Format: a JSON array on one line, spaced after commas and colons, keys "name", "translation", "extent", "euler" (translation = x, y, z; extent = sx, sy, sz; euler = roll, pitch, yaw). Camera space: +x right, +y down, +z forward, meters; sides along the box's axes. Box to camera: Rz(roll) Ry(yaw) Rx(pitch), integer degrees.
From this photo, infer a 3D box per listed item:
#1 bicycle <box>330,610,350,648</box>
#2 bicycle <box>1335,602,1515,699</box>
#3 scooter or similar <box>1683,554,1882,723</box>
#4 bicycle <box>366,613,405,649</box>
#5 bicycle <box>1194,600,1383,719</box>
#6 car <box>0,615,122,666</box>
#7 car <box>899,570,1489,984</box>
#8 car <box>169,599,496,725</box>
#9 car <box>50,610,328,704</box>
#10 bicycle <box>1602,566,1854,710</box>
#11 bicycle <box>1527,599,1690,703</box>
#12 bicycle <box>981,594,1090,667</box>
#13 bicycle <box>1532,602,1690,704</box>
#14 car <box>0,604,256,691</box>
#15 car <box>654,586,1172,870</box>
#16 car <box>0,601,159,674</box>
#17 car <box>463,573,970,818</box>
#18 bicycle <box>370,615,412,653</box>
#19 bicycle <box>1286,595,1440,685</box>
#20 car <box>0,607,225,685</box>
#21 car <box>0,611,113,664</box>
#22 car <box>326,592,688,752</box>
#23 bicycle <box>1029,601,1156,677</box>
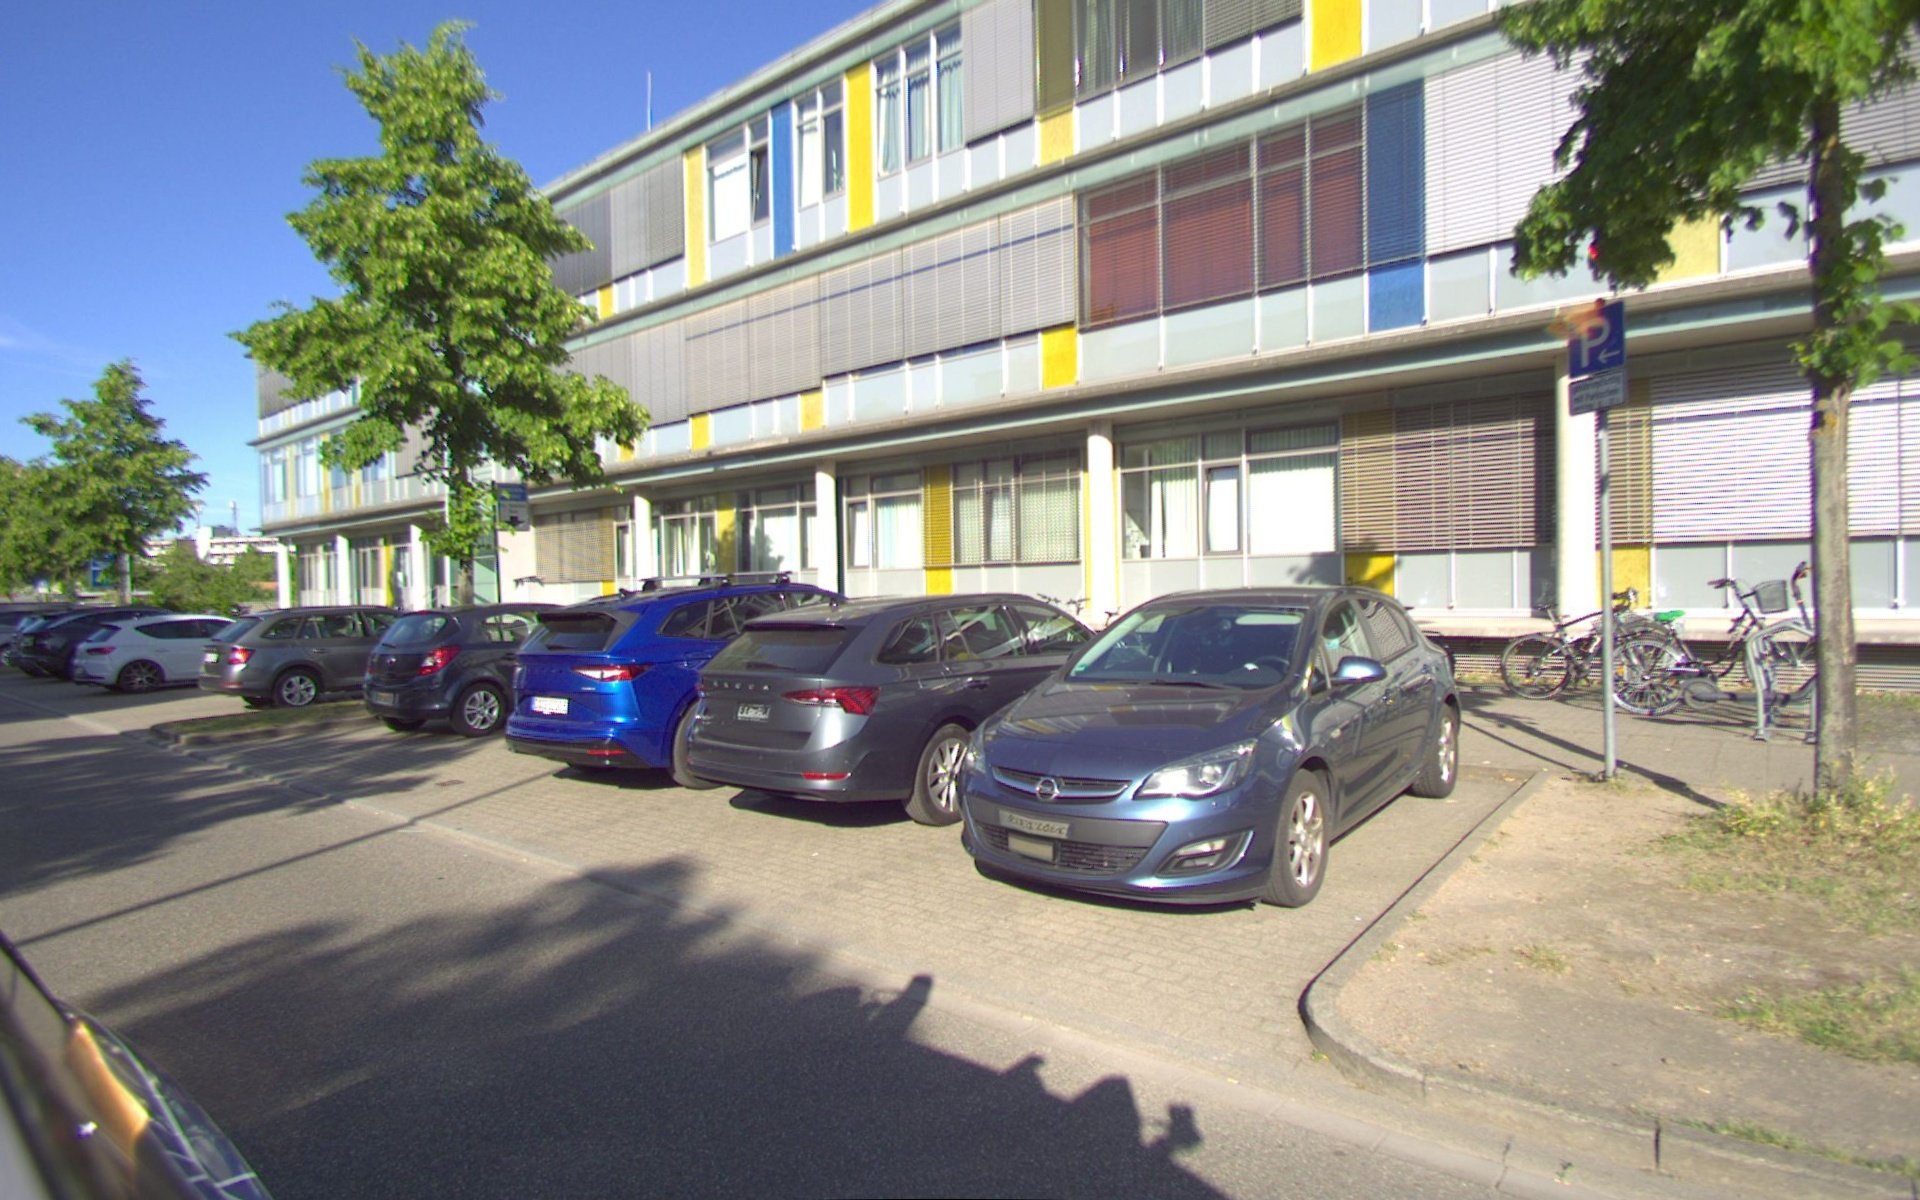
[{"name": "bicycle", "translation": [-19.827, 0.919, 32.372], "extent": [0.455, 1.104, 1.517], "euler": [-3, 4, -31]}, {"name": "bicycle", "translation": [5.202, 0.547, 11.396], "extent": [1.778, 1.023, 0.443], "euler": [-1, 0, 39]}, {"name": "scooter or similar", "translation": [6.645, 0.298, 8.217], "extent": [1.205, 1.283, 0.465], "euler": [-1, 0, 41]}, {"name": "bicycle", "translation": [-18.537, 0.997, 32.663], "extent": [1.658, 1.105, 0.513], "euler": [-1, 0, 39]}, {"name": "bicycle", "translation": [3.427, 0.592, 10.651], "extent": [1.778, 1.151, 0.629], "euler": [-1, 0, 39]}, {"name": "car", "translation": [-31.311, 1.386, 34.261], "extent": [2.001, 1.471, 4.300], "euler": [-1, 2, 44]}, {"name": "car", "translation": [1.674, 0.622, 5.901], "extent": [1.751, 1.477, 4.092], "euler": [-1, 1, 38]}, {"name": "car", "translation": [-9.676, 0.848, 15.873], "extent": [1.821, 1.499, 3.944], "euler": [-1, 3, 38]}, {"name": "car", "translation": [-15.232, 1.029, 20.187], "extent": [1.821, 1.433, 4.053], "euler": [0, 3, 38]}, {"name": "bicycle", "translation": [6.890, 0.364, 9.177], "extent": [1.647, 1.056, 0.349], "euler": [-12, -6, 34]}, {"name": "bicycle", "translation": [6.731, 0.517, 10.548], "extent": [1.393, 1.030, 0.349], "euler": [-1, -1, 35]}, {"name": "bicycle", "translation": [1.302, 0.524, 17.758], "extent": [1.854, 1.208, 0.640], "euler": [-1, 0, 39]}, {"name": "bicycle", "translation": [6.972, 0.553, 10.876], "extent": [1.393, 1.030, 0.349], "euler": [-1, -1, 35]}, {"name": "car", "translation": [-19.636, 1.037, 24.041], "extent": [1.996, 1.639, 4.311], "euler": [-1, 3, 35]}, {"name": "car", "translation": [-0.082, 0.687, 7.578], "extent": [1.728, 1.448, 3.950], "euler": [-1, 1, 37]}, {"name": "car", "translation": [-27.110, 1.092, 30.484], "extent": [1.999, 1.876, 4.304], "euler": [-2, 2, 40]}, {"name": "car", "translation": [-1.952, 0.628, 9.219], "extent": [1.957, 1.664, 4.182], "euler": [-1, 1, 37]}, {"name": "bicycle", "translation": [-16.655, 0.995, 29.624], "extent": [1.658, 1.087, 0.513], "euler": [-1, -1, 39]}, {"name": "bicycle", "translation": [5.386, 0.524, 13.608], "extent": [1.854, 1.144, 0.443], "euler": [-1, -1, 39]}, {"name": "car", "translation": [-21.971, 1.115, 26.210], "extent": [1.996, 1.602, 4.311], "euler": [-2, 2, 35]}, {"name": "car", "translation": [-33.262, 1.346, 36.236], "extent": [2.001, 1.658, 4.300], "euler": [-1, 2, 44]}, {"name": "car", "translation": [-5.415, 0.744, 12.552], "extent": [1.773, 1.499, 3.713], "euler": [-1, 2, 31]}, {"name": "bicycle", "translation": [2.016, 0.580, 15.535], "extent": [1.854, 1.104, 0.640], "euler": [-1, 0, 39]}]
